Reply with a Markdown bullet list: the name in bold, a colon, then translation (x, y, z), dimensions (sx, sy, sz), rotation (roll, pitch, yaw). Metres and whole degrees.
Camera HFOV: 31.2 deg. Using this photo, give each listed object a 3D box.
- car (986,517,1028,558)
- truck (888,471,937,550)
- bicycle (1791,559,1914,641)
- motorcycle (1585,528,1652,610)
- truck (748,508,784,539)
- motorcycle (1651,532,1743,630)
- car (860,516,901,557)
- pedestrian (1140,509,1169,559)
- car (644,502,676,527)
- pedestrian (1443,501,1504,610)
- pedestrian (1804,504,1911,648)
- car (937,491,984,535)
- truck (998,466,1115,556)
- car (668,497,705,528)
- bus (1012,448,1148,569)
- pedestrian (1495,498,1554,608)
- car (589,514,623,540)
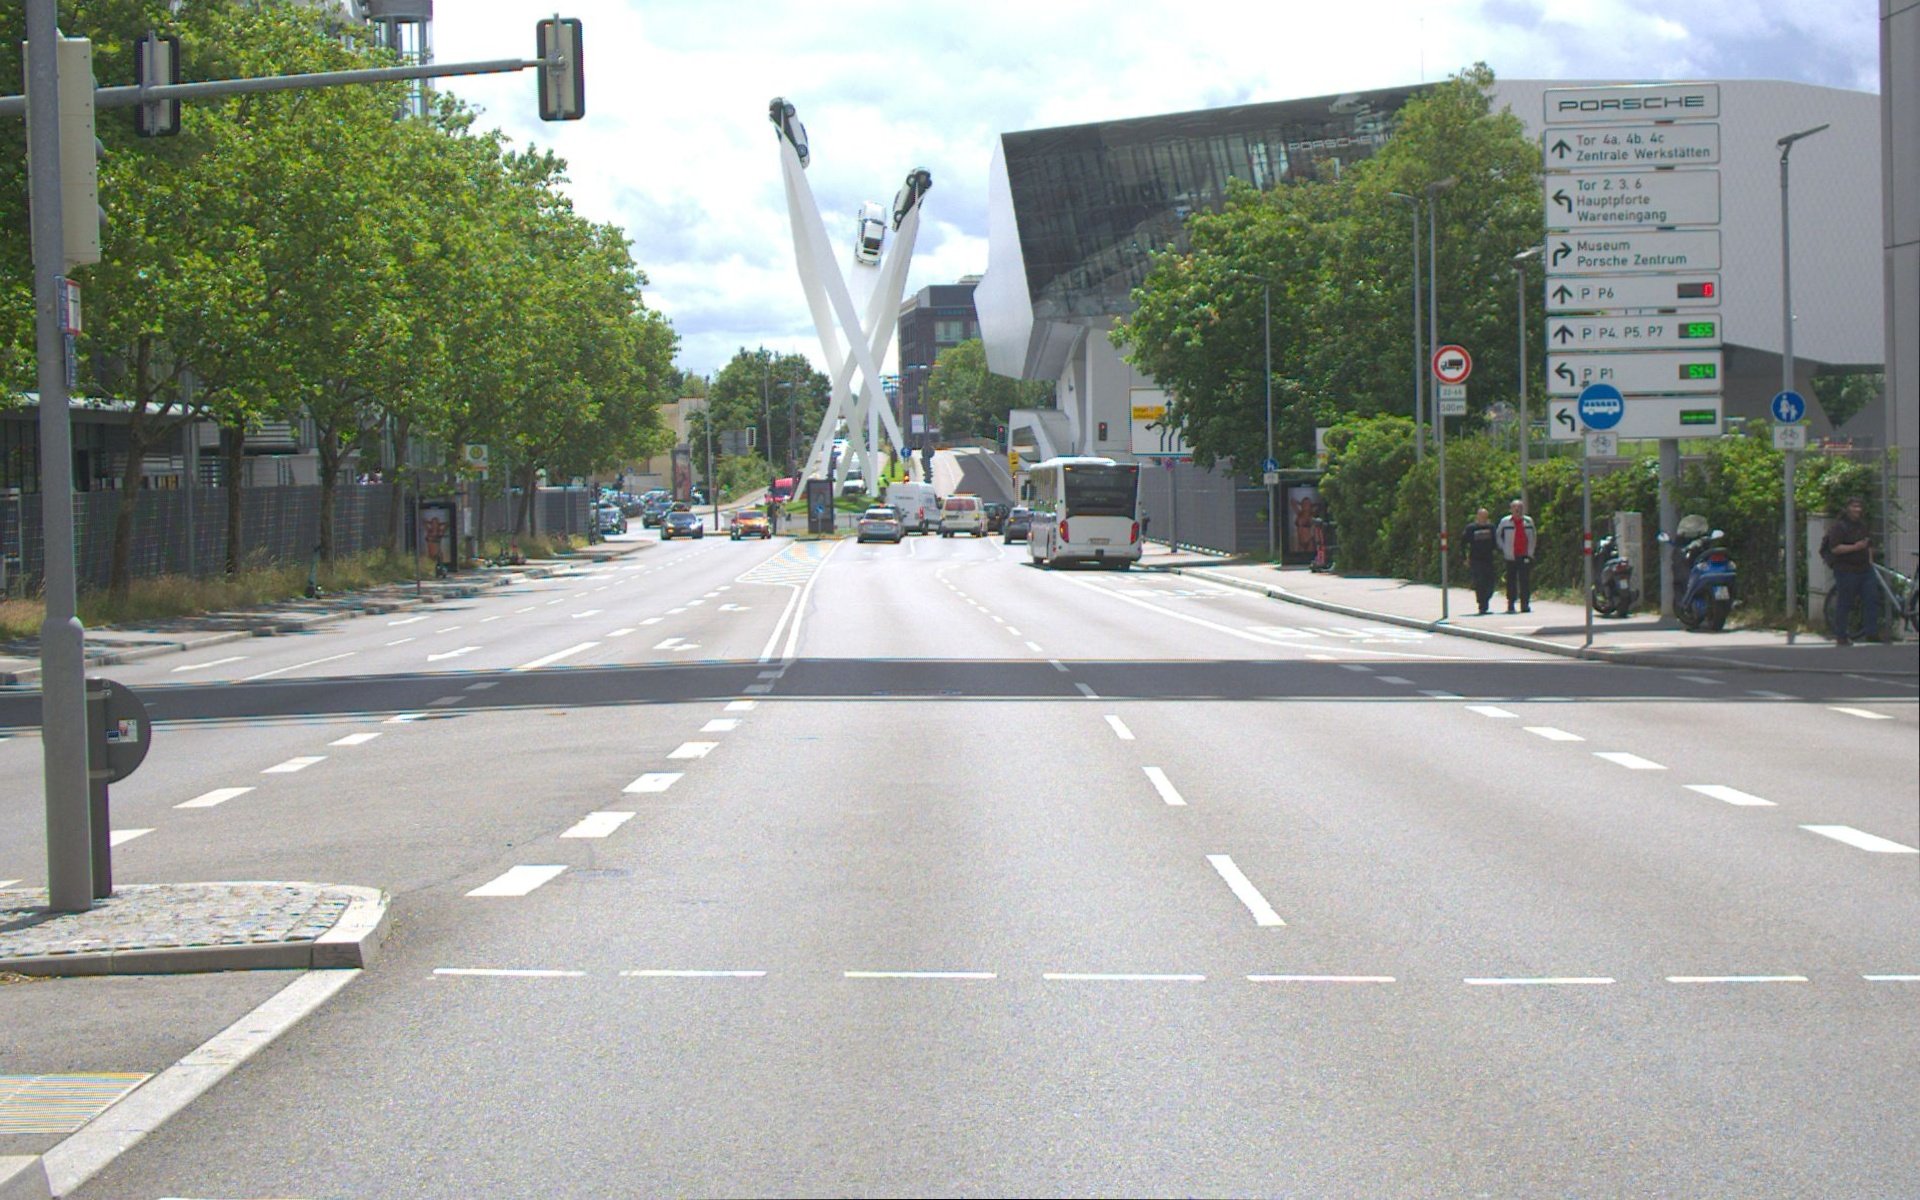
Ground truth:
- **car**: translation (2.011, -2.703, 147.656), dimensions (1.738, 1.735, 3.691), rotation (0, 1, -1)
- **truck**: translation (-2.376, -4.439, 172.092), dimensions (2.392, 3.884, 6.177), rotation (0, 1, -1)
- **bicycle**: translation (10.619, -0.014, 40.965), dimensions (0.397, 0.933, 1.929), rotation (0, 1, -19)
- **motorcycle**: translation (10.096, -0.488, 52.742), dimensions (0.574, 1.199, 2.024), rotation (-2, 2, -1)
- **truck**: translation (-9.574, -3.768, 169.676), dimensions (1.583, 1.532, 3.679), rotation (0, 1, -6)
- **motorcycle**: translation (9.613, -0.265, 44.884), dimensions (0.706, 1.199, 2.024), rotation (-2, 2, -1)
- **car**: translation (-3.415, -2.745, 148.465), dimensions (1.738, 1.735, 3.691), rotation (0, 1, -1)
- **pedestrian**: translation (7.925, -2.700, 140.110), dimensions (1.028, 2.007, 0.885), rotation (1, 0, -4)
- **car**: translation (-19.516, -5.535, 223.779), dimensions (1.818, 1.532, 3.679), rotation (-2, 1, -2)
- **pedestrian**: translation (8.135, -0.709, 54.488), dimensions (0.820, 1.701, 0.881), rotation (0, 1, -1)
- **pedestrian**: translation (10.314, -0.284, 39.510), dimensions (0.849, 1.619, 0.954), rotation (1, 1, 41)
- **car**: translation (0.024, -4.164, 165.564), dimensions (1.994, 2.007, 3.999), rotation (1, 0, 3)
- **truck**: translation (4.894, -4.403, 171.635), dimensions (3.455, 4.376, 9.412), rotation (0, 1, 17)
- **car**: translation (-14.218, -4.534, 178.779), dimensions (1.818, 1.532, 3.679), rotation (-2, 1, -3)
- **bus**: translation (3.580, -2.764, 105.327), dimensions (3.452, 3.531, 10.607), rotation (0, 1, -2)
- **pedestrian**: translation (8.960, -0.754, 54.548), dimensions (0.820, 1.735, 0.637), rotation (0, 1, -1)
- **car**: translation (-21.765, -4.484, 211.484), dimensions (1.818, 1.532, 3.679), rotation (-2, 1, -2)
